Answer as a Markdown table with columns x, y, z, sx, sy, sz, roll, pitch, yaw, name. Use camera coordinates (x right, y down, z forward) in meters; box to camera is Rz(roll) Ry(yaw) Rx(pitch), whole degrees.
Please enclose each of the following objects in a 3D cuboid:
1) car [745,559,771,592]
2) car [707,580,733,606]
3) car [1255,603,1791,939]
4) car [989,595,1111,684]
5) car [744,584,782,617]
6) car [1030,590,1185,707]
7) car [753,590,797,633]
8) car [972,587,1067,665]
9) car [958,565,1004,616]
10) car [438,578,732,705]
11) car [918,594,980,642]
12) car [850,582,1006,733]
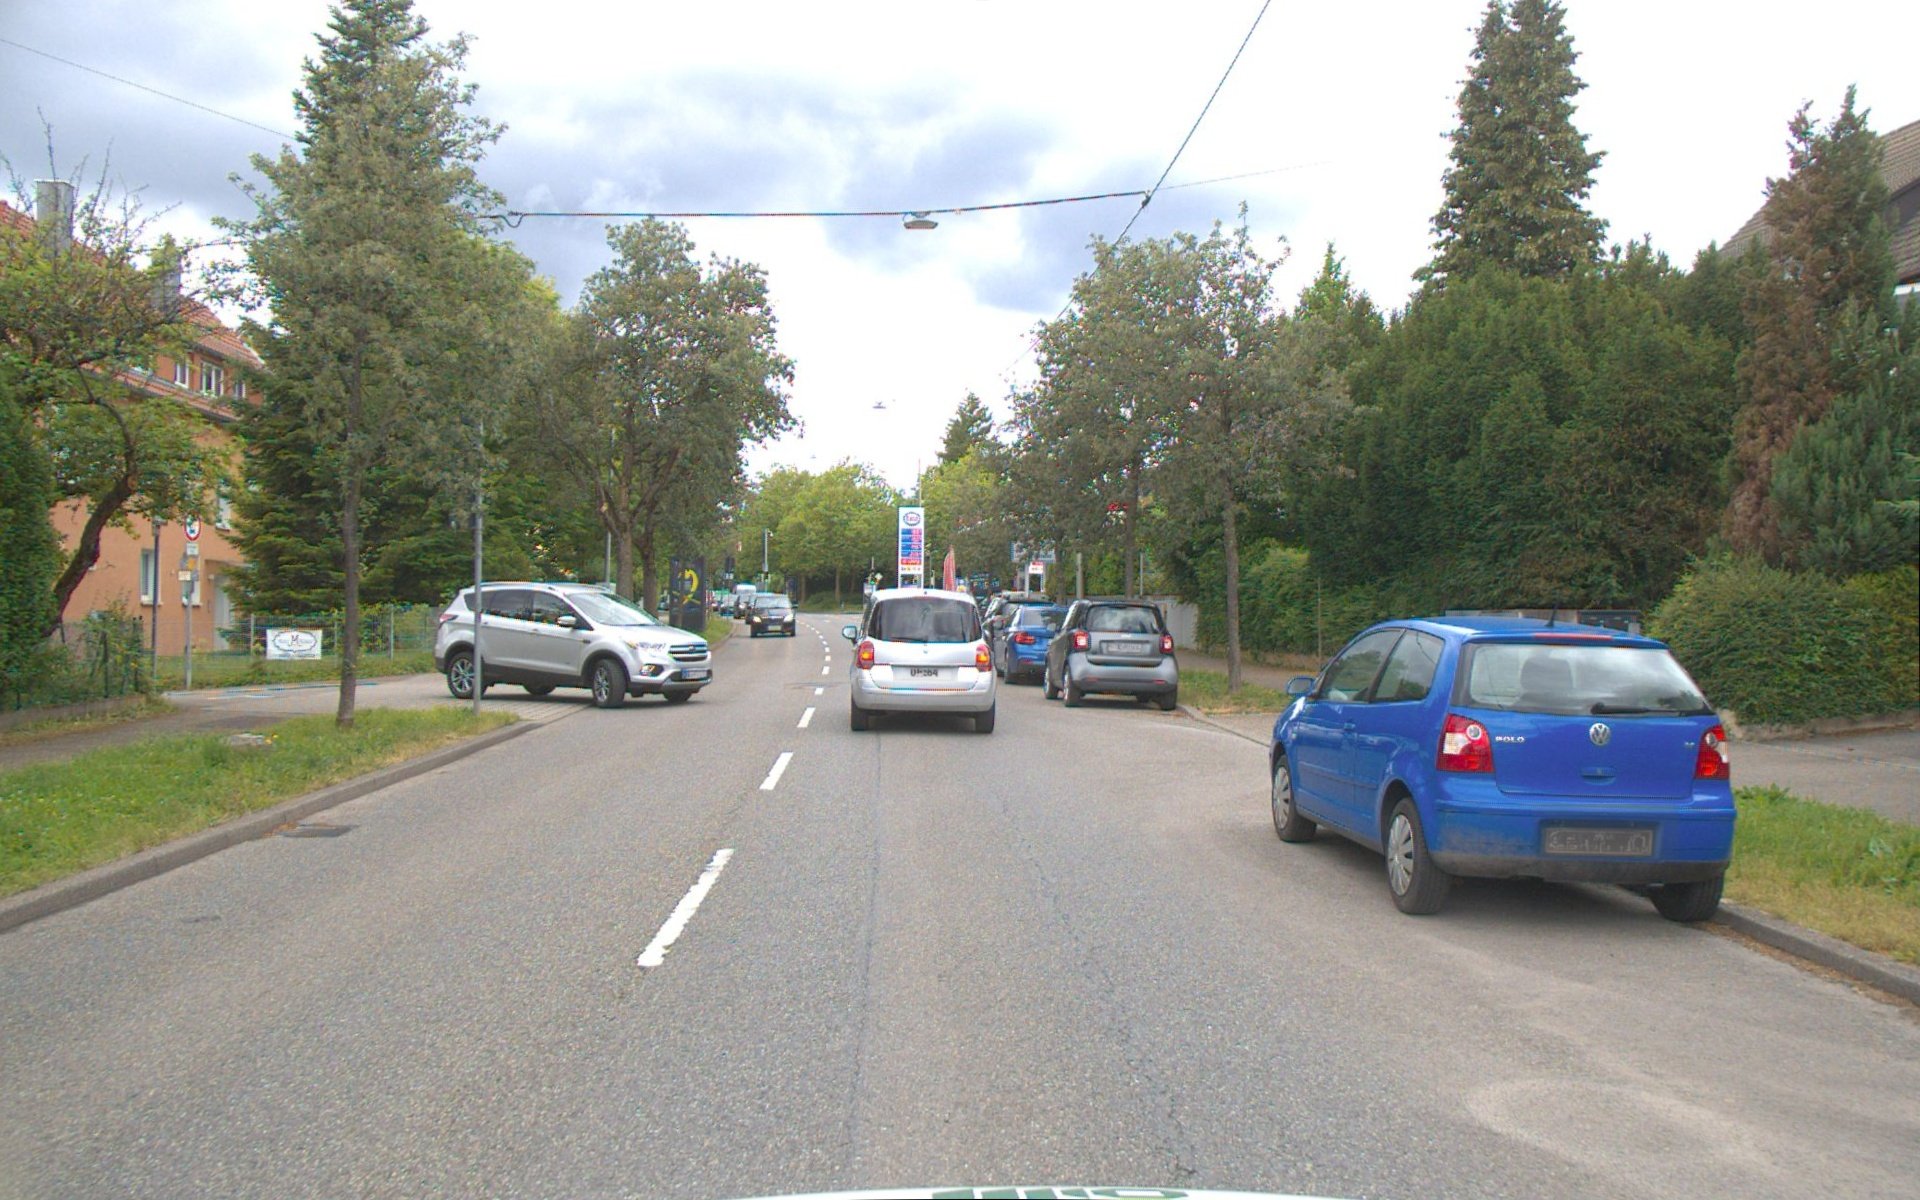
| x | y | z | sx | sy | sz | roll | pitch | yaw | name |
| --- | --- | --- | --- | --- | --- | --- | --- | --- | --- |
| -15.041 | -1.818 | 123.339 | 1.897 | 2.450 | 3.994 | 1 | 0 | -6 | car |
| -19.325 | -0.594 | 133.100 | 1.897 | 2.049 | 3.994 | 1 | 0 | -6 | car |
| 2.960 | 0.798 | 9.590 | 1.594 | 1.477 | 3.874 | 2 | 0 | -3 | car |
| 1.591 | 0.672 | 30.541 | 1.663 | 1.458 | 4.336 | 1 | 0 | -5 | car |
| -9.895 | 0.009 | 83.264 | 1.759 | 1.582 | 3.667 | -2 | 1 | -6 | car |
| 2.153 | 0.676 | 25.171 | 1.662 | 1.584 | 3.952 | 2 | 0 | -5 | car |
| -6.694 | 0.418 | 59.887 | 1.515 | 1.496 | 3.736 | -1 | 0 | -7 | car |
| 1.230 | 0.514 | 35.830 | 1.662 | 1.598 | 3.952 | 0 | 0 | -4 | car |
| 1.262 | -0.585 | 101.669 | 2.236 | 2.962 | 5.274 | 2 | 0 | -4 | car |
| -5.520 | 0.551 | 24.297 | 4.006 | 1.736 | 1.746 | 0 | 0 | 26 | car |
| -0.399 | 0.592 | 56.319 | 1.663 | 1.532 | 3.966 | 1 | 0 | -7 | car |
| -0.412 | 0.612 | 19.569 | 1.646 | 1.587 | 3.510 | 1 | 0 | -2 | car |
